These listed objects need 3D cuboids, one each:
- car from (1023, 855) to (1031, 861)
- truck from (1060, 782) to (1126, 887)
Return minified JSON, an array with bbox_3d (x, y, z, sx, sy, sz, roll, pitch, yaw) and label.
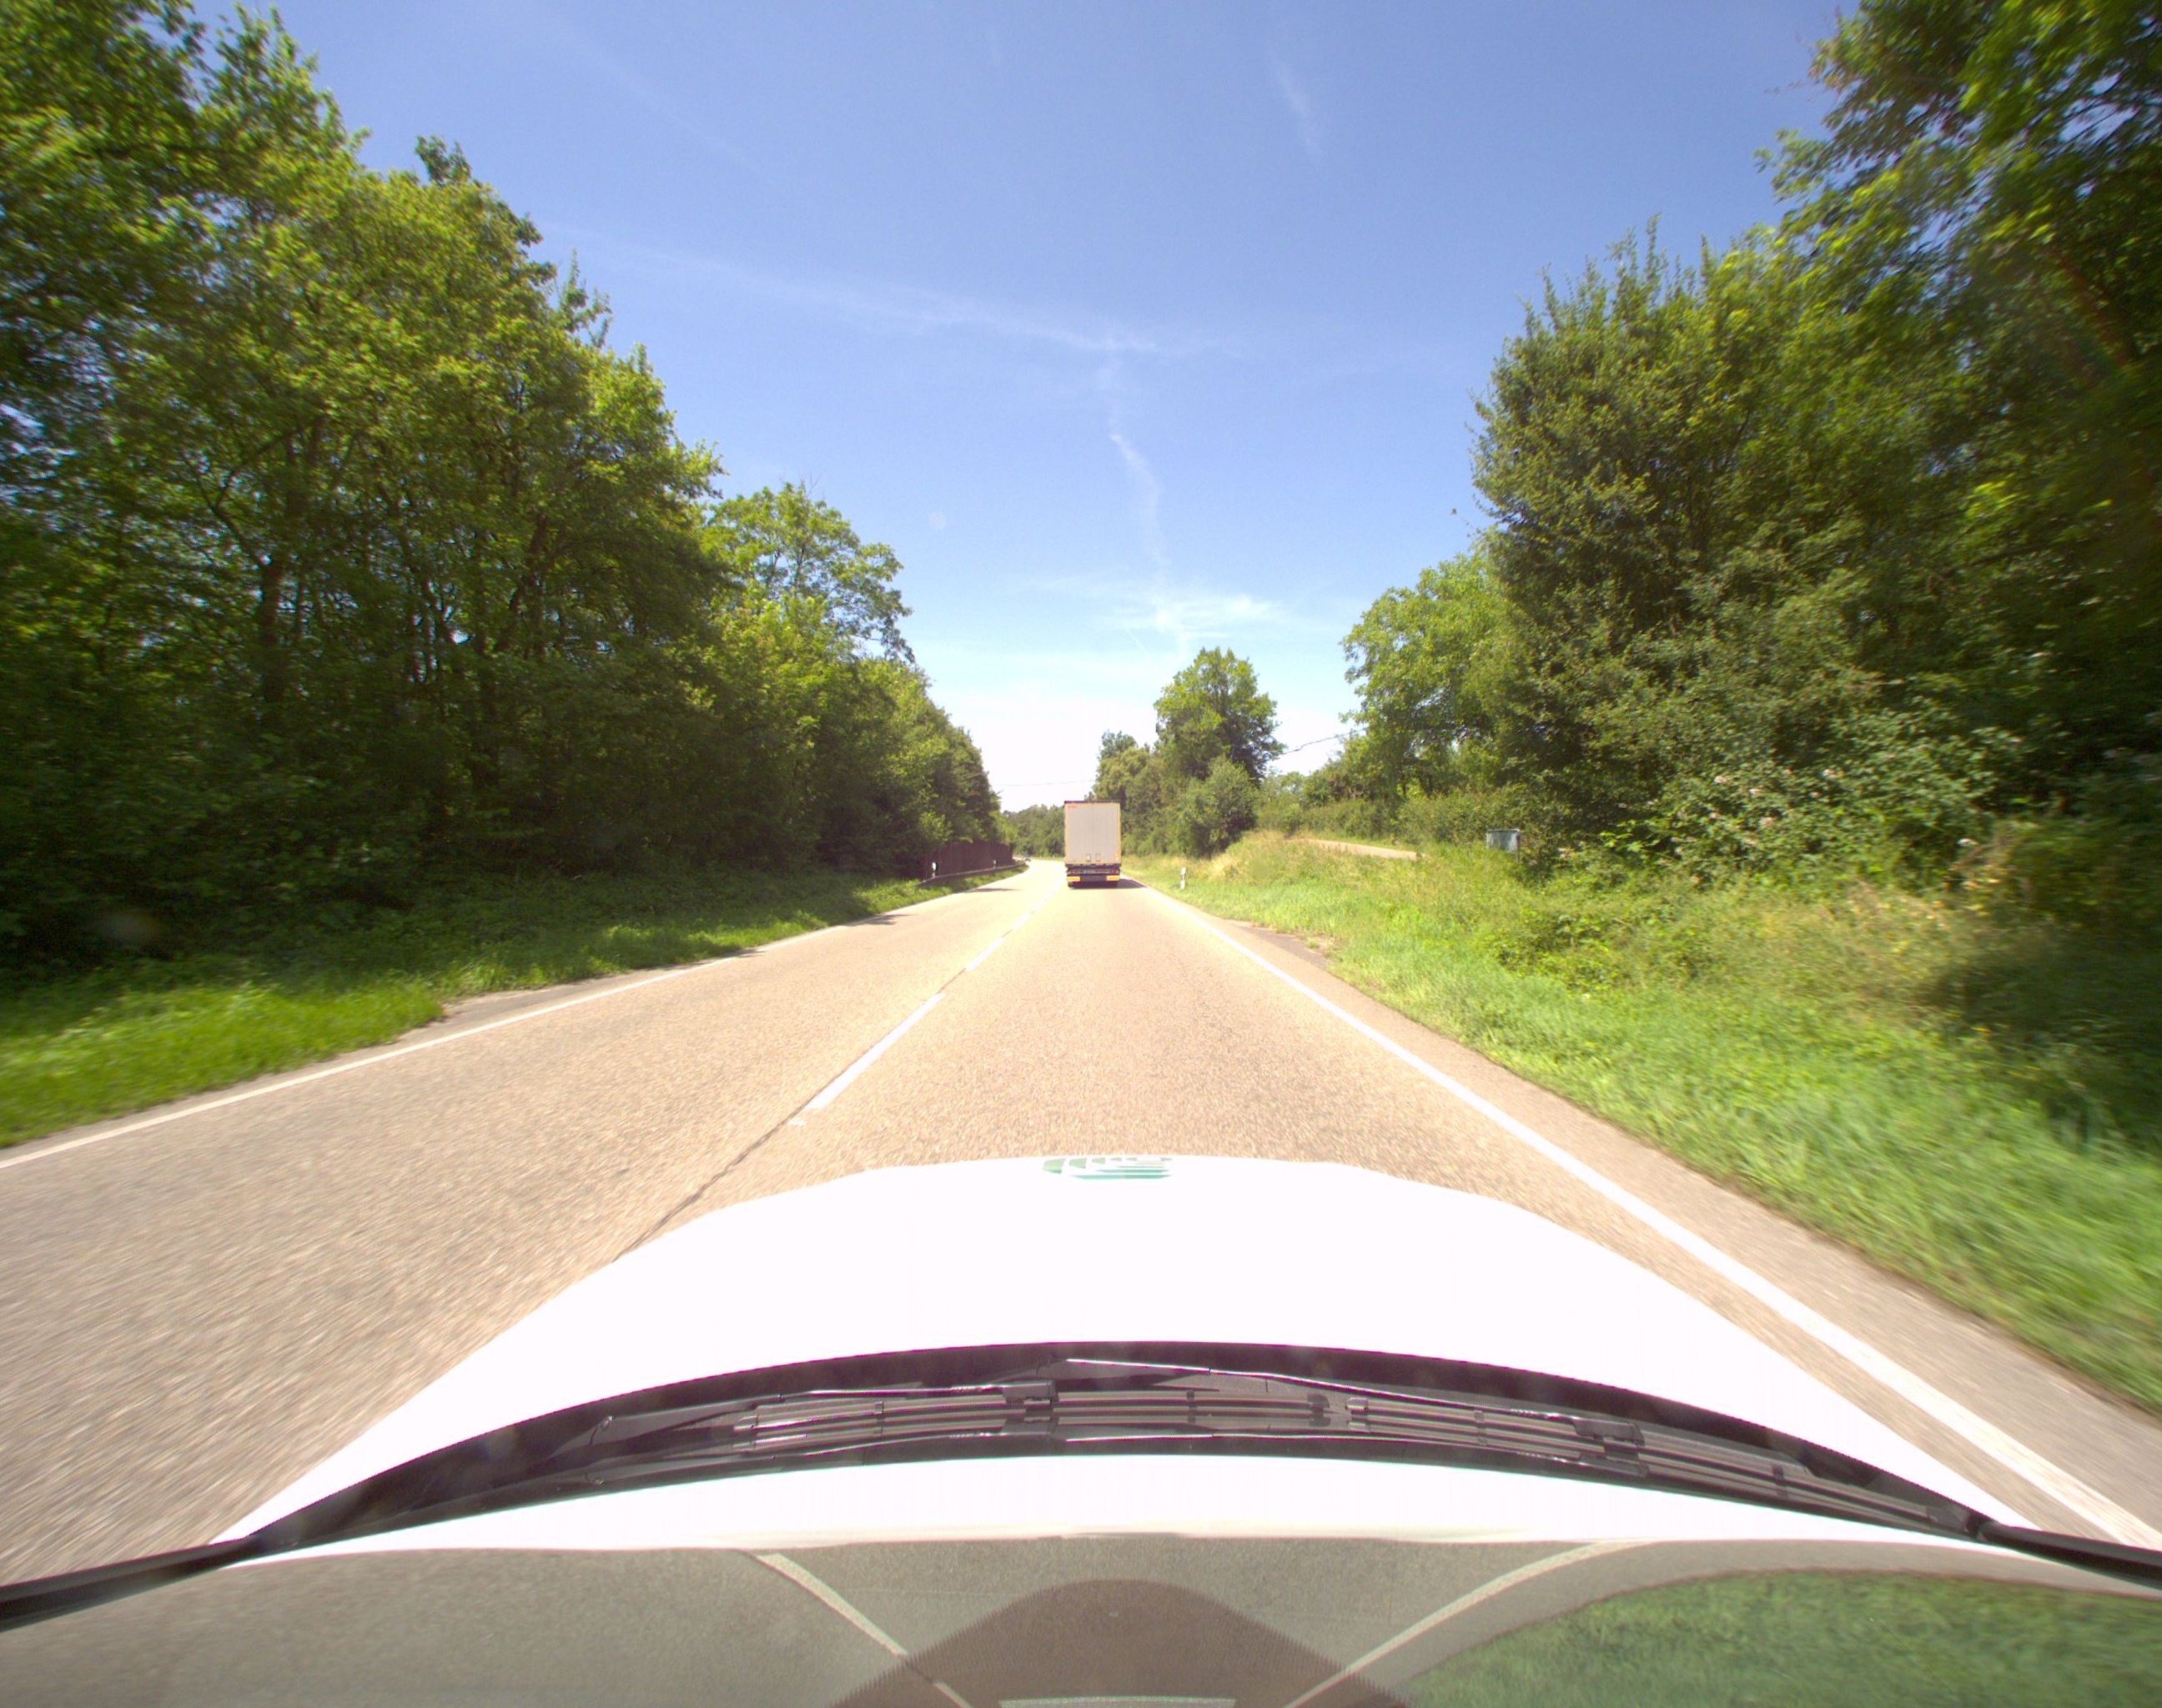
[{"bbox_3d":[-13.302,1.026,201.395,1.616,1.491,3.607,-1,0,-8],"label":"car"},{"bbox_3d":[0.694,-0.824,39.364,2.810,4.604,6.671,-1,-1,4],"label":"truck"}]
